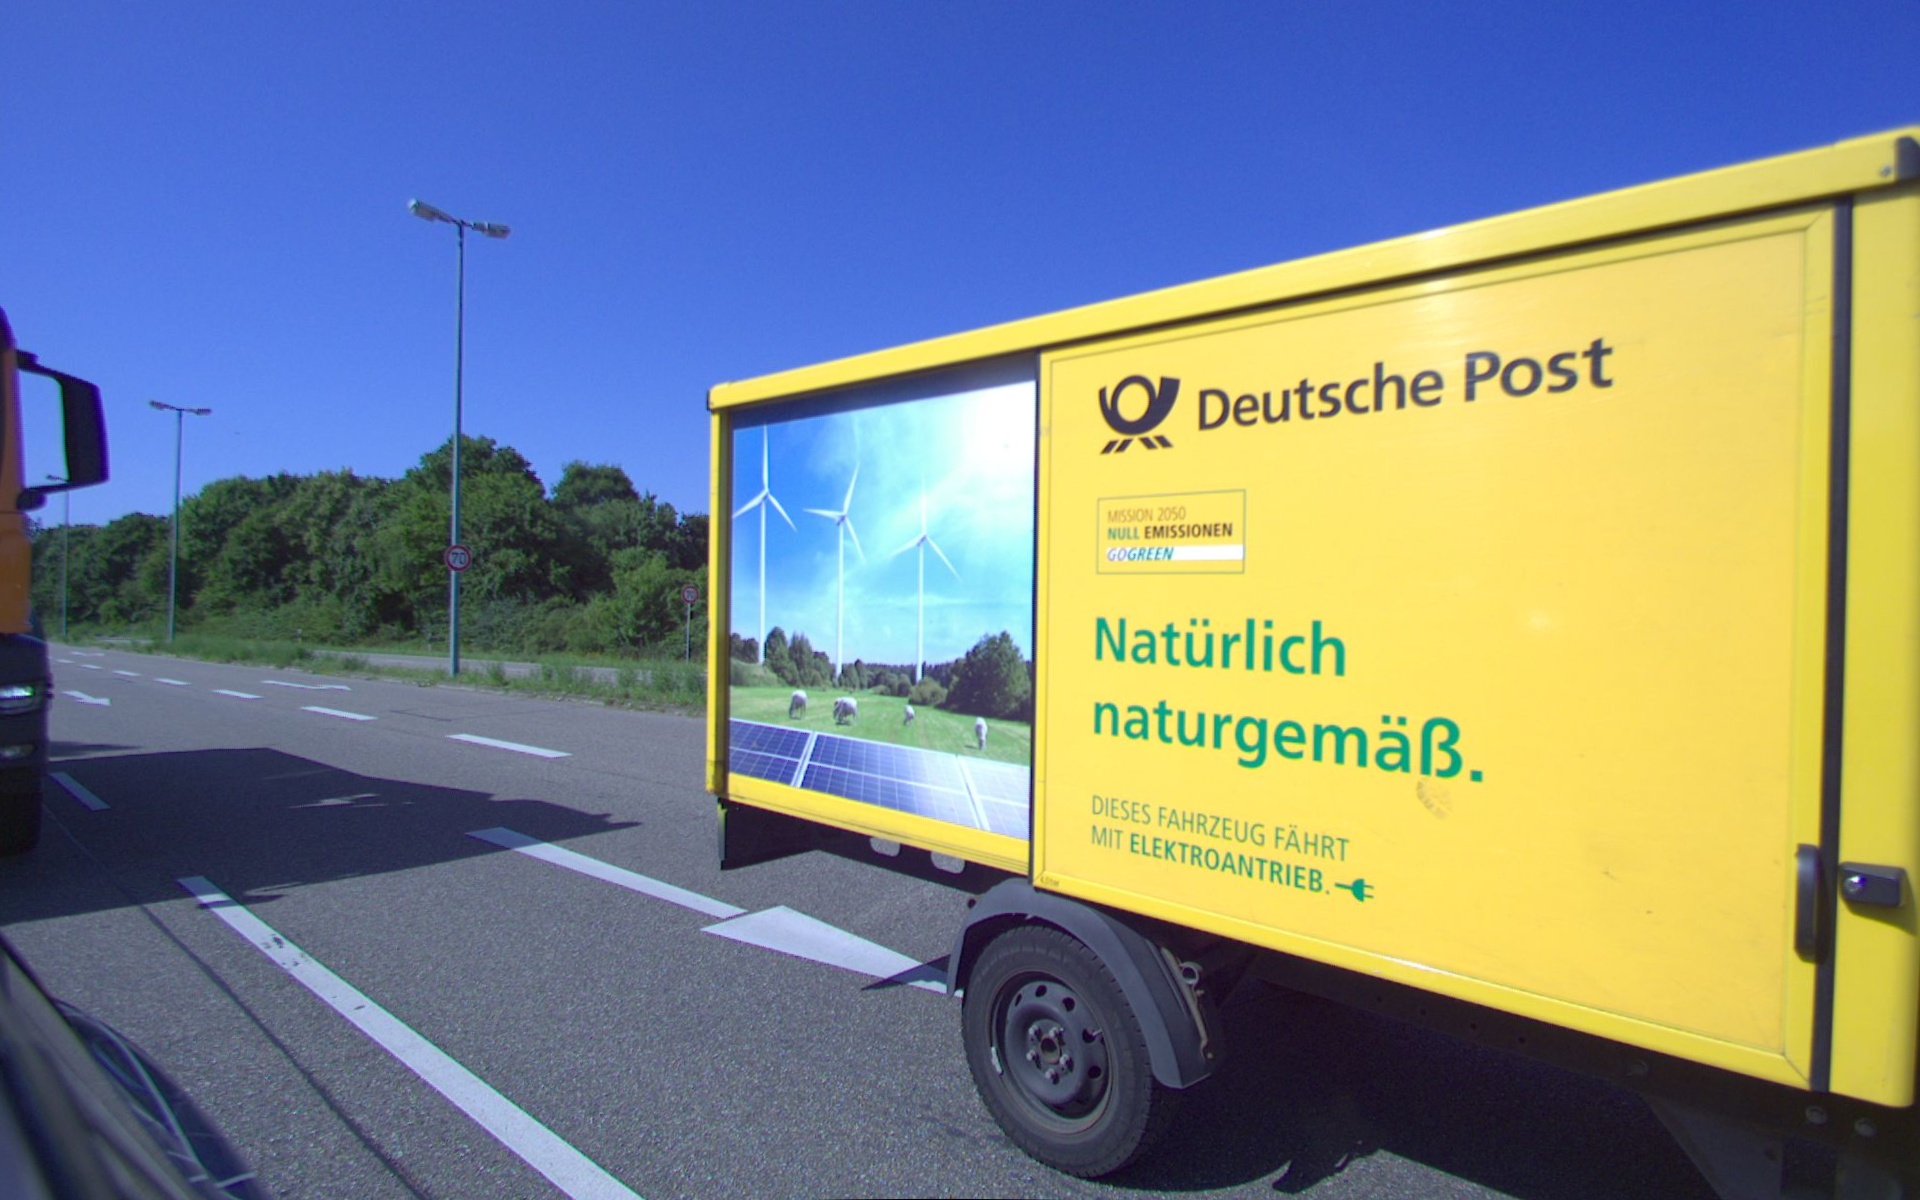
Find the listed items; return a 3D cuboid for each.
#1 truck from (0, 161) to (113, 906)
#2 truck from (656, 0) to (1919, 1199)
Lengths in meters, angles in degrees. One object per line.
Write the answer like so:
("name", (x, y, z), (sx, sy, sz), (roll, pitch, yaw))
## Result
("truck", (-8.107, -0.316, 6.817), (6.591, 3.904, 2.901), (-1, 0, 43))
("truck", (1.758, 0.194, 2.505), (5.917, 2.476, 2.089), (-1, 0, 43))
